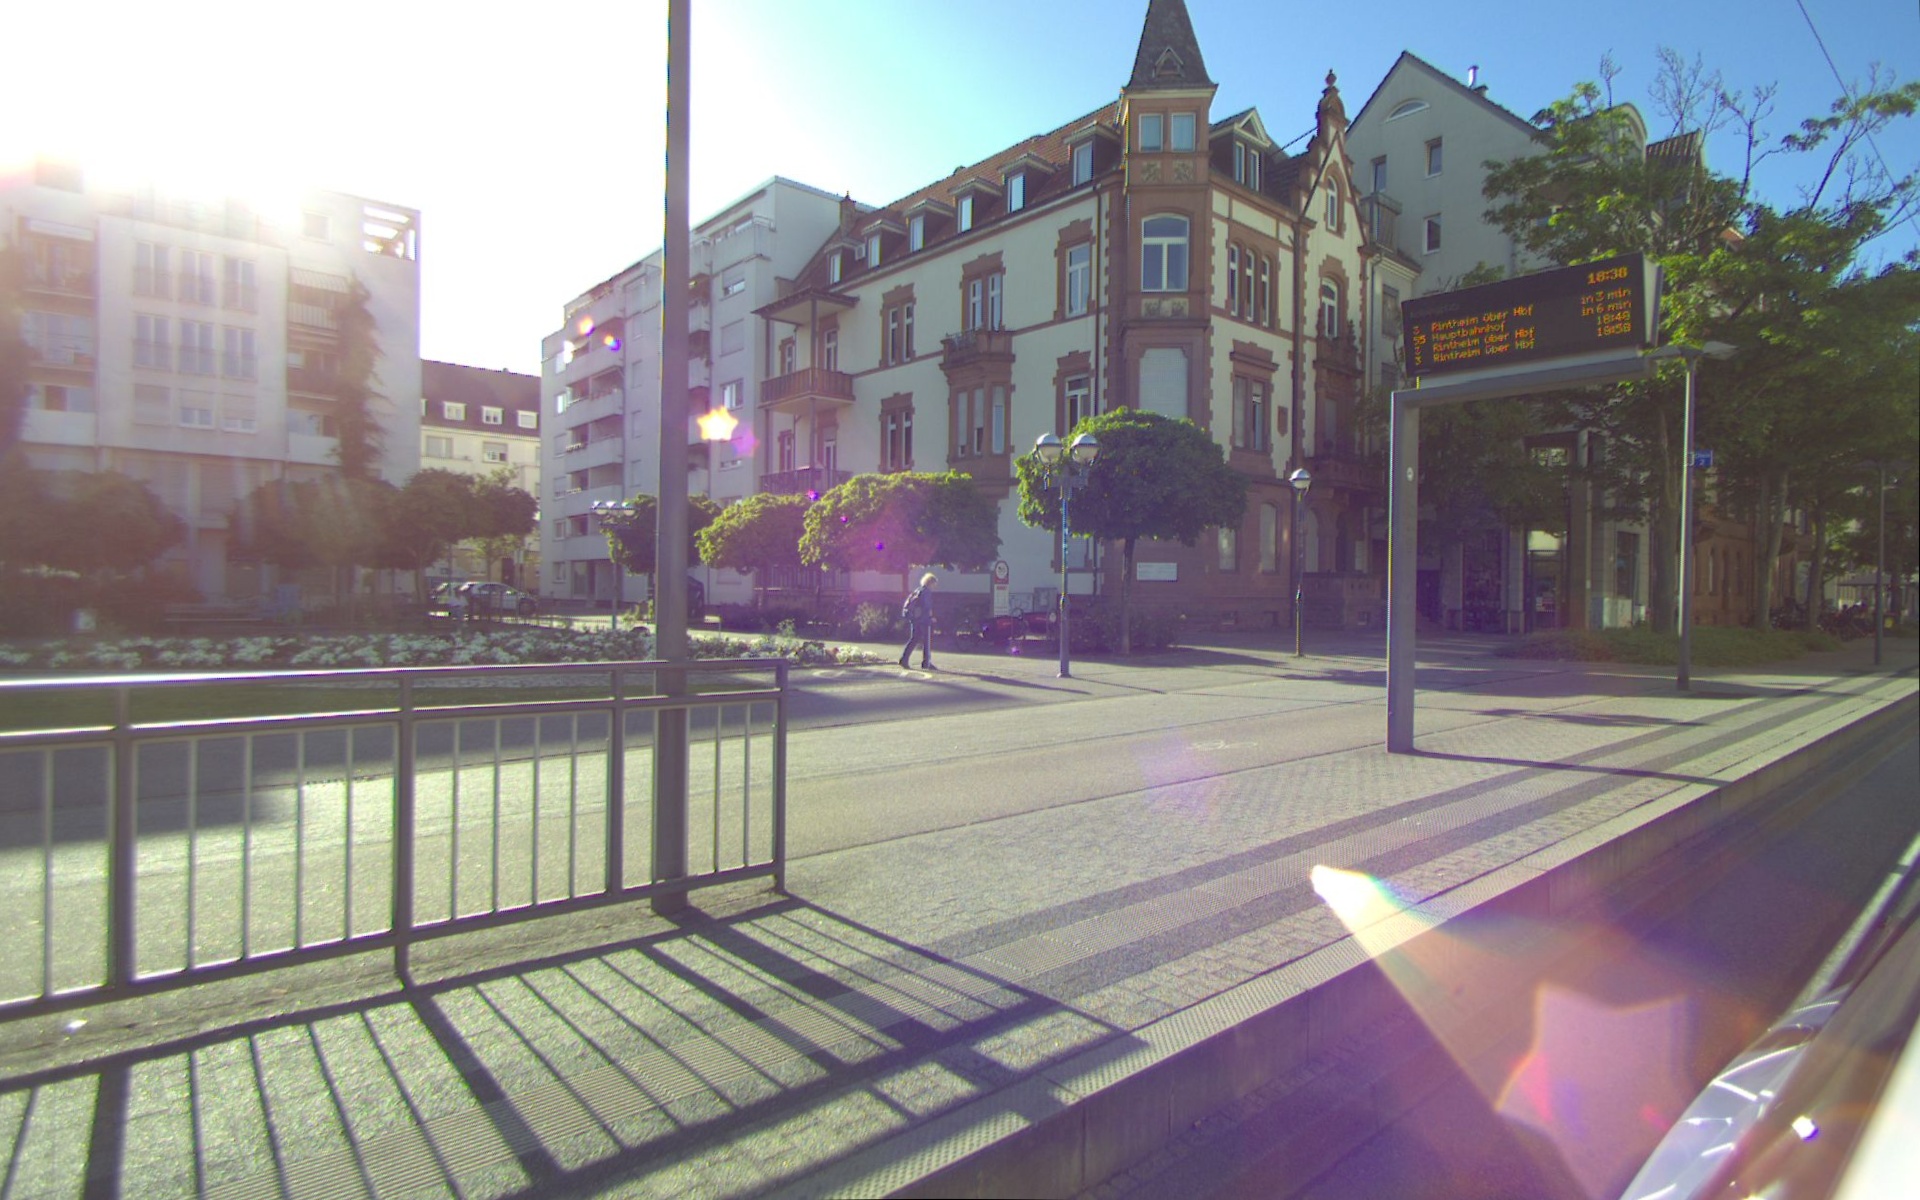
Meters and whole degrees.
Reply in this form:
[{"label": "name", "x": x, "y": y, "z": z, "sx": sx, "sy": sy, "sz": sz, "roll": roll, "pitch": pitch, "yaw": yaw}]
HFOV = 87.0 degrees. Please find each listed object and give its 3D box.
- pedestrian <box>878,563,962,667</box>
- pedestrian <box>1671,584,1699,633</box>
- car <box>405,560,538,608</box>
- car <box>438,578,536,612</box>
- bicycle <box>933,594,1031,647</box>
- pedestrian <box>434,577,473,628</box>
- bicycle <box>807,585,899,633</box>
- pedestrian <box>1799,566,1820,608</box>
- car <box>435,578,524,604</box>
[{"label": "pedestrian", "x": -0.667, "y": 0.227, "z": 17.104, "sx": 1.064, "sy": 1.689, "sz": 0.944, "roll": 1, "pitch": 0, "yaw": 37}, {"label": "pedestrian", "x": 26.951, "y": 0.306, "z": 37.612, "sx": 0.740, "sy": 1.757, "sz": 0.864, "roll": 1, "pitch": 0, "yaw": 43}, {"label": "car", "x": -27.769, "y": -0.905, "z": 57.633, "sx": 6.291, "sy": 2.587, "sz": 2.808, "roll": 0, "pitch": 1, "yaw": -44}, {"label": "car", "x": -22.393, "y": -0.227, "z": 47.935, "sx": 3.923, "sy": 1.536, "sz": 2.001, "roll": 0, "pitch": 1, "yaw": -34}, {"label": "bicycle", "x": 0.568, "y": 0.455, "z": 24.101, "sx": 0.786, "sy": 1.081, "sz": 2.767, "roll": 1, "pitch": 2, "yaw": 40}, {"label": "pedestrian", "x": -14.689, "y": 0.068, "z": 29.335, "sx": 0.917, "sy": 1.429, "sz": 1.529, "roll": 0, "pitch": 1, "yaw": -30}, {"label": "bicycle", "x": -3.236, "y": 0.252, "z": 30.904, "sx": 2.864, "sy": 1.389, "sz": 0.745, "roll": 0, "pitch": 1, "yaw": -41}, {"label": "pedestrian", "x": 41.405, "y": -0.620, "z": 49.327, "sx": 0.549, "sy": 2.039, "sz": 0.654, "roll": 0, "pitch": 0, "yaw": -38}, {"label": "car", "x": -24.860, "y": -0.480, "z": 52.424, "sx": 3.923, "sy": 1.304, "sz": 2.001, "roll": 0, "pitch": 1, "yaw": -34}]
